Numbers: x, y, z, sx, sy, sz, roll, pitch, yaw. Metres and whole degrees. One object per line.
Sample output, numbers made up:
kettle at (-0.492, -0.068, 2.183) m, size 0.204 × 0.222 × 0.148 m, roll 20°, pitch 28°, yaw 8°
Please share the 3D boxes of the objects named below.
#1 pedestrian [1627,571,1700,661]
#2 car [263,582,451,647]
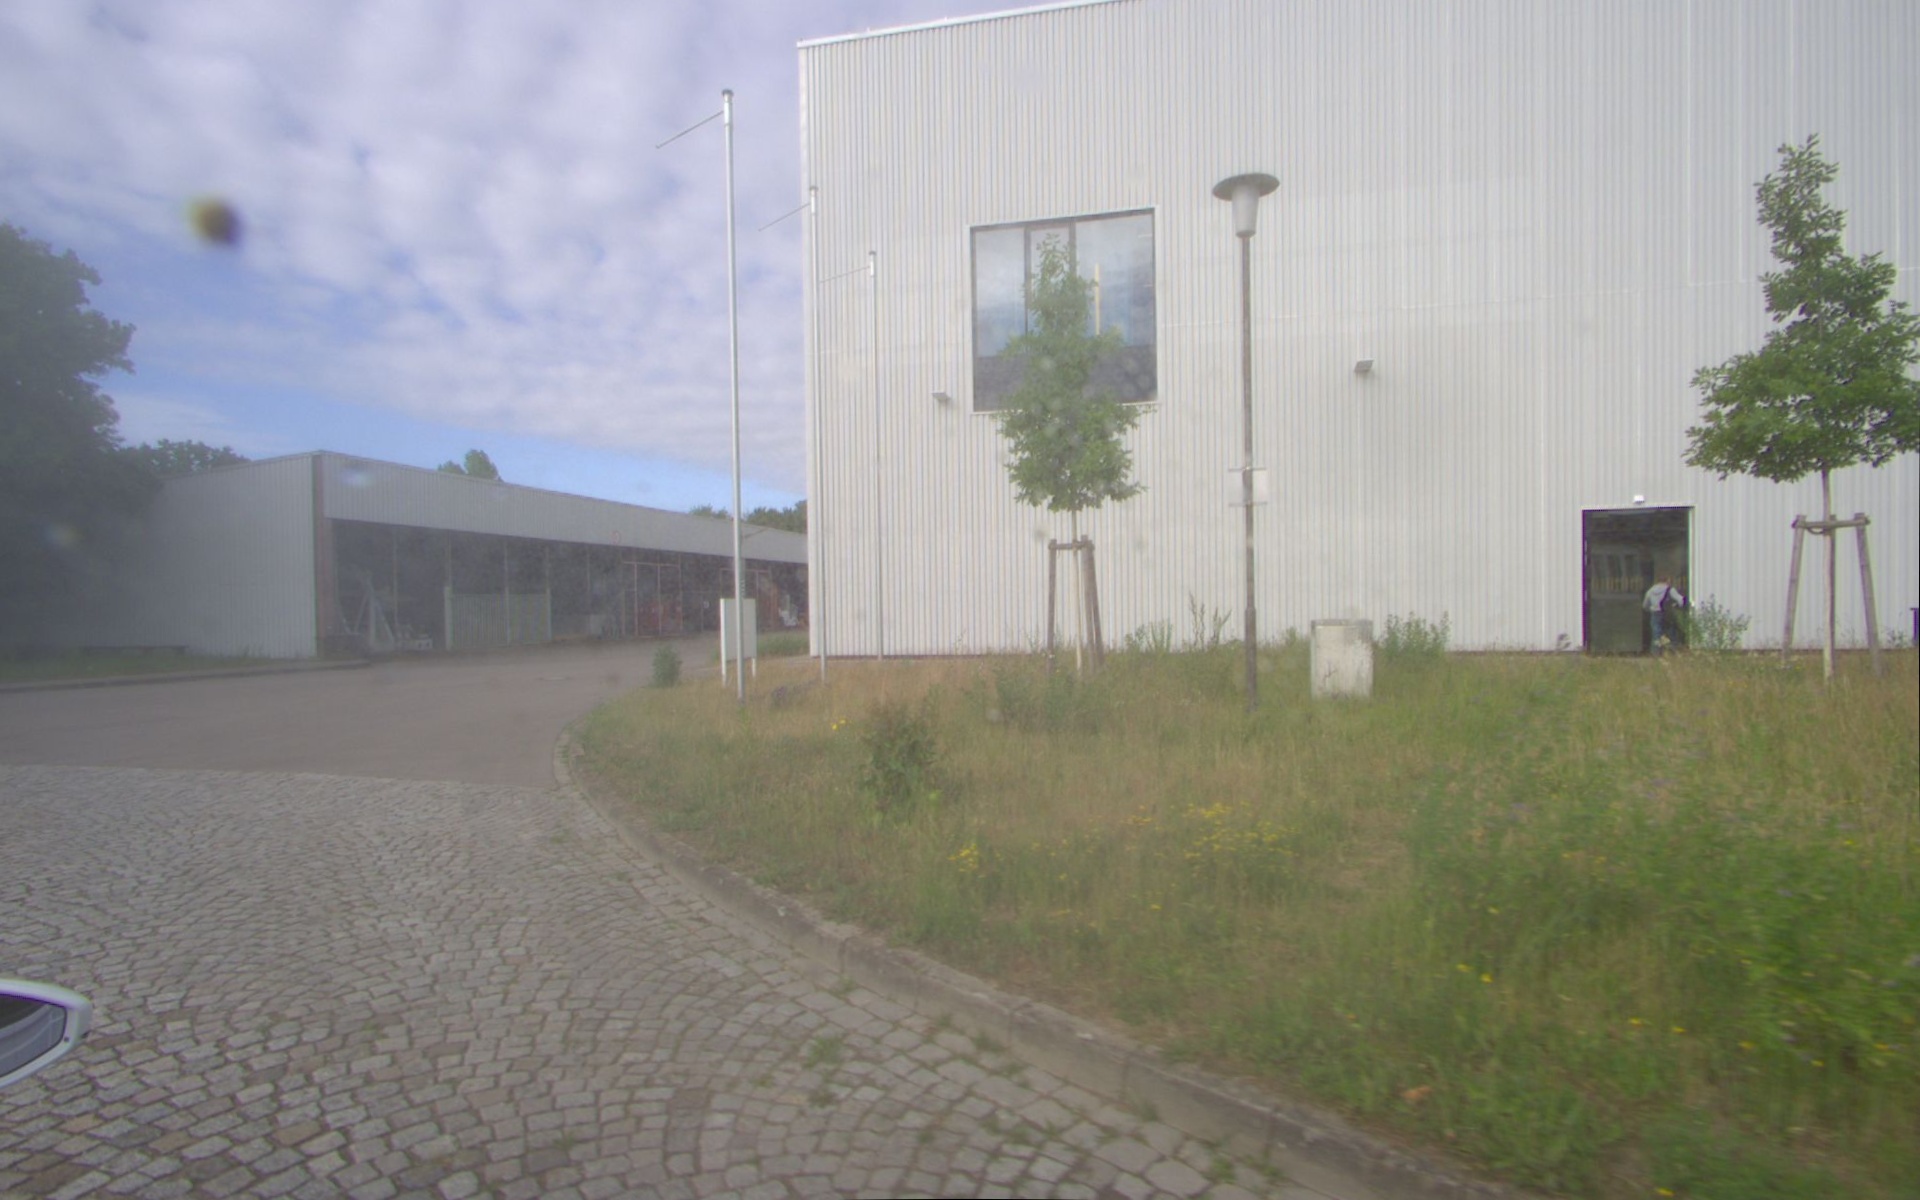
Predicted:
pedestrian at (12.820, 0.278, 18.248) m, size 1.061 × 1.577 × 1.071 m, roll -1°, pitch 1°, yaw 37°
car at (-20.161, 0.479, 33.571) m, size 5.236 × 2.040 × 2.246 m, roll -1°, pitch 0°, yaw 12°
